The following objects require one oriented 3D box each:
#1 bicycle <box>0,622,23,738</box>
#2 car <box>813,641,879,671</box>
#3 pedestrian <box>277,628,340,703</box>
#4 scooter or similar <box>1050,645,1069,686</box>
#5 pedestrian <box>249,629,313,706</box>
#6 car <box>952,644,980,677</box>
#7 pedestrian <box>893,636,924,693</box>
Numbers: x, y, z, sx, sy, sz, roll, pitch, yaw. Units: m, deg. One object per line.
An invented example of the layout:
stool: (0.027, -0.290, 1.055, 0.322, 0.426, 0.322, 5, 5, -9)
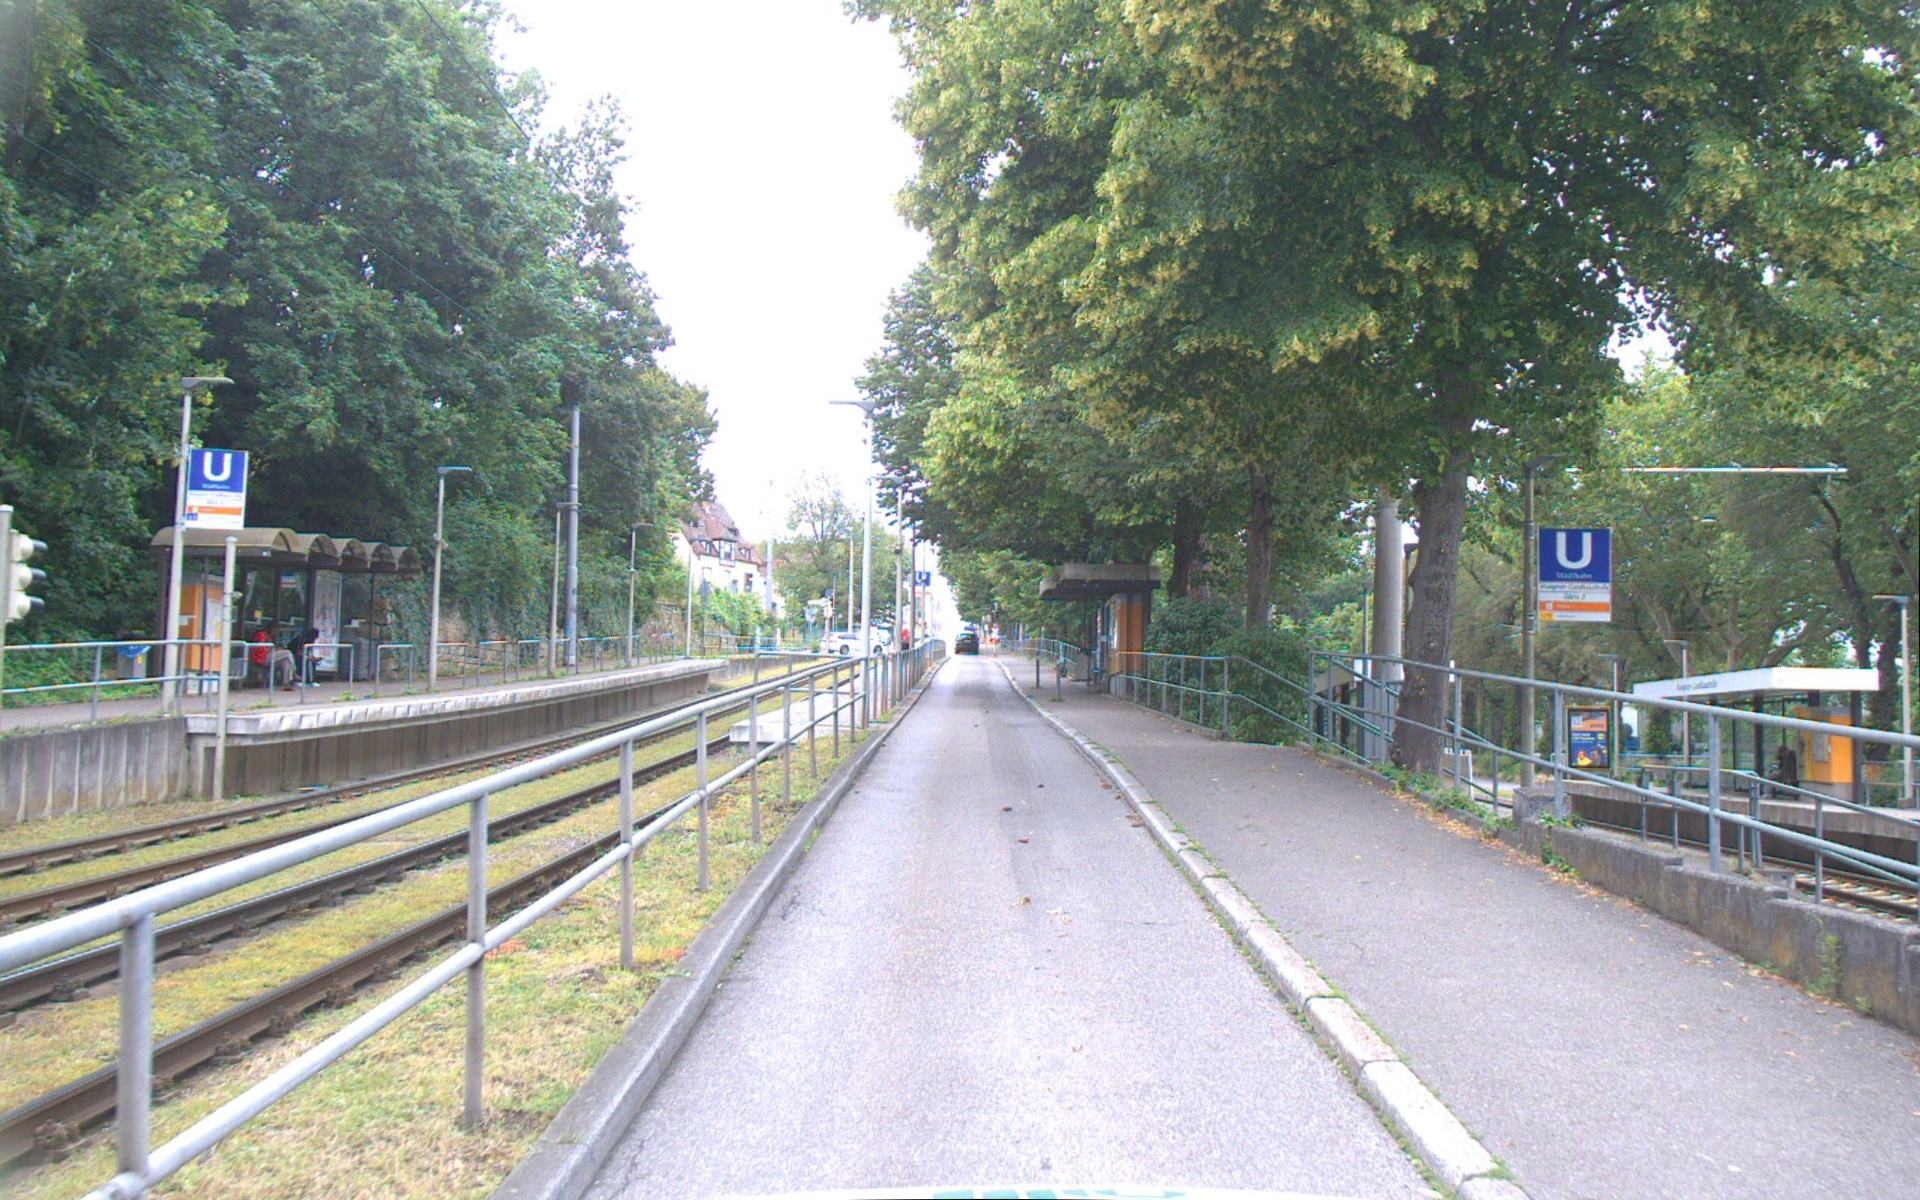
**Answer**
bicycle: (-11.324, 0.870, 17.468, 0.718, 1.312, 3.347, 3, -1, 3)
car: (-7.846, 3.871, 114.154, 4.072, 1.688, 1.975, 7, -6, -35)
pedestrian: (-12.395, 1.254, 31.493, 0.756, 1.349, 0.787, 3, -5, 0)
scooter or similar: (3.014, 1.991, 50.234, 0.336, 1.177, 1.145, 4, -5, -6)
pedestrian: (-12.477, 1.246, 30.405, 0.756, 1.349, 0.787, 3, -3, 0)
car: (0.442, 4.647, 126.774, 1.953, 2.183, 3.998, 4, -5, 0)
pedestrian: (-1.356, 1.696, 43.706, 0.727, 1.434, 0.747, 3, -1, 0)
